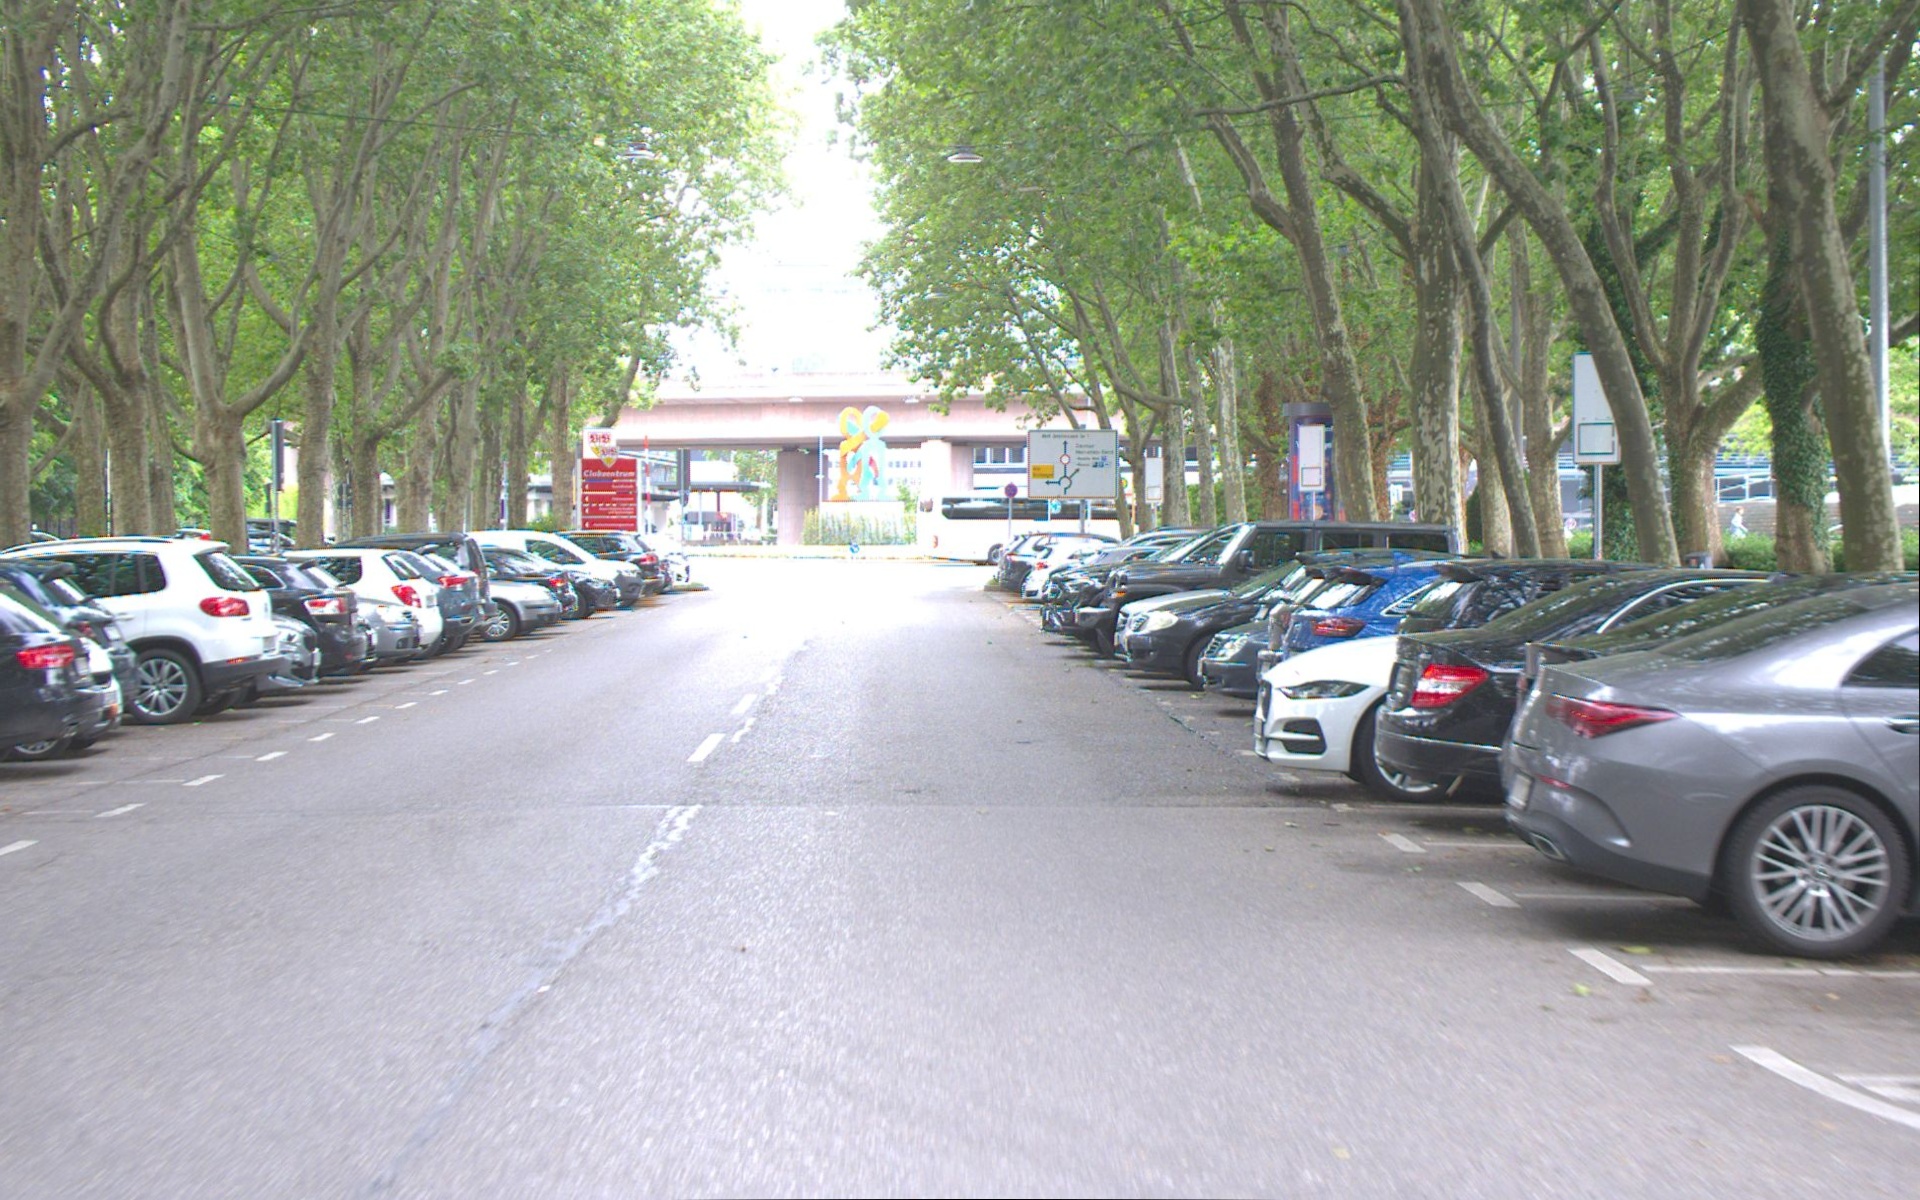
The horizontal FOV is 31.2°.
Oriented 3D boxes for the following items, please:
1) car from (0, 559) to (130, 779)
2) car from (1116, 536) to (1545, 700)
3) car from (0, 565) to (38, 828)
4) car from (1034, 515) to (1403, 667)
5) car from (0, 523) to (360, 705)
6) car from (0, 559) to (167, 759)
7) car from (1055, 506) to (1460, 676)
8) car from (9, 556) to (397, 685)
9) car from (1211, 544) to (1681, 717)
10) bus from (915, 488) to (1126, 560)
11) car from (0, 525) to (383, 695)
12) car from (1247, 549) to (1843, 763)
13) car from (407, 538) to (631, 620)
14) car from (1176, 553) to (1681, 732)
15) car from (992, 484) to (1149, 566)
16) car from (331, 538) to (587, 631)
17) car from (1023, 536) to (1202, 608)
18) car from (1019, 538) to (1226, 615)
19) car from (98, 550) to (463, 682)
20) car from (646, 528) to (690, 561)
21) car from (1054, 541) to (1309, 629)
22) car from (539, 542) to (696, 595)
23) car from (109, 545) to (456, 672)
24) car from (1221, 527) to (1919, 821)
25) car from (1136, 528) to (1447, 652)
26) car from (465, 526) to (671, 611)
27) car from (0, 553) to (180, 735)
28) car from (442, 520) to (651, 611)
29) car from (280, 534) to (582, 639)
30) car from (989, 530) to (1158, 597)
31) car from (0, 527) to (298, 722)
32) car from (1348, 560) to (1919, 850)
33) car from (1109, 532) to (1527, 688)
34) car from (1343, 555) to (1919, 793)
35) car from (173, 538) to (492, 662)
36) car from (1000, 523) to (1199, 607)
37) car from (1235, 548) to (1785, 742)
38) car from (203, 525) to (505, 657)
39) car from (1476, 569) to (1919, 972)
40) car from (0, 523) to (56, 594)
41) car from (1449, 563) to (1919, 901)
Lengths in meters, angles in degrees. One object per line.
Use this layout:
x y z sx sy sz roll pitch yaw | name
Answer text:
-7.965 0.427 23.759 3.987 1.448 1.856 1 0 0 | car
3.810 0.174 35.829 4.195 1.513 1.785 2 1 -1 | car
-7.516 0.600 18.770 4.407 1.439 2.048 -2 1 -2 | car
3.257 -0.136 44.047 4.495 1.790 2.048 1 1 -1 | car
-7.994 0.116 33.380 3.987 1.676 1.856 1 0 0 | car
-8.216 0.400 26.017 3.987 1.448 1.856 1 0 0 | car
3.491 -0.126 40.932 4.494 1.860 2.048 1 1 -4 | car
-8.452 0.217 38.631 3.986 1.364 1.844 1 0 -2 | car
4.664 0.276 33.373 4.195 1.513 1.785 1 1 -4 | car
2.920 -3.629 165.093 9.983 3.387 2.341 0 1 -20 | bus
-8.175 0.088 35.842 3.987 1.676 1.856 1 0 0 | car
4.338 0.399 25.883 4.015 1.442 1.915 1 2 -6 | car
-8.443 -0.413 66.053 3.979 1.416 1.755 -2 1 2 | car
4.168 0.364 31.003 4.195 1.451 1.785 1 1 -4 | car
2.857 -1.957 89.726 3.987 2.007 2.000 1 1 0 | car
-8.135 -0.264 56.069 3.930 1.393 1.703 -2 1 -2 | car
3.246 -0.600 73.605 3.639 1.422 1.666 1 1 -4 | car
3.324 -0.495 70.989 4.148 1.453 1.727 1 1 0 | car
-8.019 0.170 40.821 3.993 1.415 1.703 -2 1 -2 | car
-13.727 -2.605 161.664 1.842 1.504 4.015 1 1 -2 | car
3.896 -0.275 60.986 4.346 1.408 1.926 1 1 0 | car
-9.319 -0.869 93.740 3.994 1.380 1.911 1 1 3 | car
-8.590 0.095 43.766 3.993 1.480 1.703 -1 1 4 | car
3.949 0.414 20.891 4.524 1.617 2.054 1 1 0 | car
5.188 -0.175 54.133 4.494 1.790 2.048 1 1 -7 | car
-8.628 -0.697 76.008 4.317 1.789 2.037 1 0 -1 | car
-8.694 0.325 28.560 3.987 1.448 1.856 1 0 0 | car
-8.817 -0.748 73.587 4.317 1.804 1.868 -2 1 -4 | car
-8.213 -0.224 53.649 4.463 1.477 1.703 -2 1 -2 | car
2.988 -0.984 91.030 4.346 1.628 1.926 1 1 0 | car
-8.141 0.194 30.955 3.987 1.676 1.856 1 0 0 | car
4.116 0.540 18.497 3.830 1.412 1.718 1 1 0 | car
3.939 0.087 38.485 4.495 1.566 2.047 2 1 2 | car
4.735 0.479 23.400 4.015 1.442 1.784 1 1 0 | car
-8.301 -0.014 45.711 3.930 1.511 1.728 -2 1 -2 | car
3.156 -0.808 78.541 4.346 1.755 1.926 2 1 -2 | car
4.525 0.355 28.670 4.195 1.451 1.785 1 1 -4 | car
-8.454 -0.144 48.209 3.930 1.702 1.752 -2 1 -2 | car
4.420 0.647 13.362 4.588 1.412 1.718 1 1 2 | car
-24.586 -1.035 84.249 4.320 1.703 2.132 1 0 -2 | car
4.494 0.588 15.993 4.016 1.412 1.912 1 1 -6 | car
